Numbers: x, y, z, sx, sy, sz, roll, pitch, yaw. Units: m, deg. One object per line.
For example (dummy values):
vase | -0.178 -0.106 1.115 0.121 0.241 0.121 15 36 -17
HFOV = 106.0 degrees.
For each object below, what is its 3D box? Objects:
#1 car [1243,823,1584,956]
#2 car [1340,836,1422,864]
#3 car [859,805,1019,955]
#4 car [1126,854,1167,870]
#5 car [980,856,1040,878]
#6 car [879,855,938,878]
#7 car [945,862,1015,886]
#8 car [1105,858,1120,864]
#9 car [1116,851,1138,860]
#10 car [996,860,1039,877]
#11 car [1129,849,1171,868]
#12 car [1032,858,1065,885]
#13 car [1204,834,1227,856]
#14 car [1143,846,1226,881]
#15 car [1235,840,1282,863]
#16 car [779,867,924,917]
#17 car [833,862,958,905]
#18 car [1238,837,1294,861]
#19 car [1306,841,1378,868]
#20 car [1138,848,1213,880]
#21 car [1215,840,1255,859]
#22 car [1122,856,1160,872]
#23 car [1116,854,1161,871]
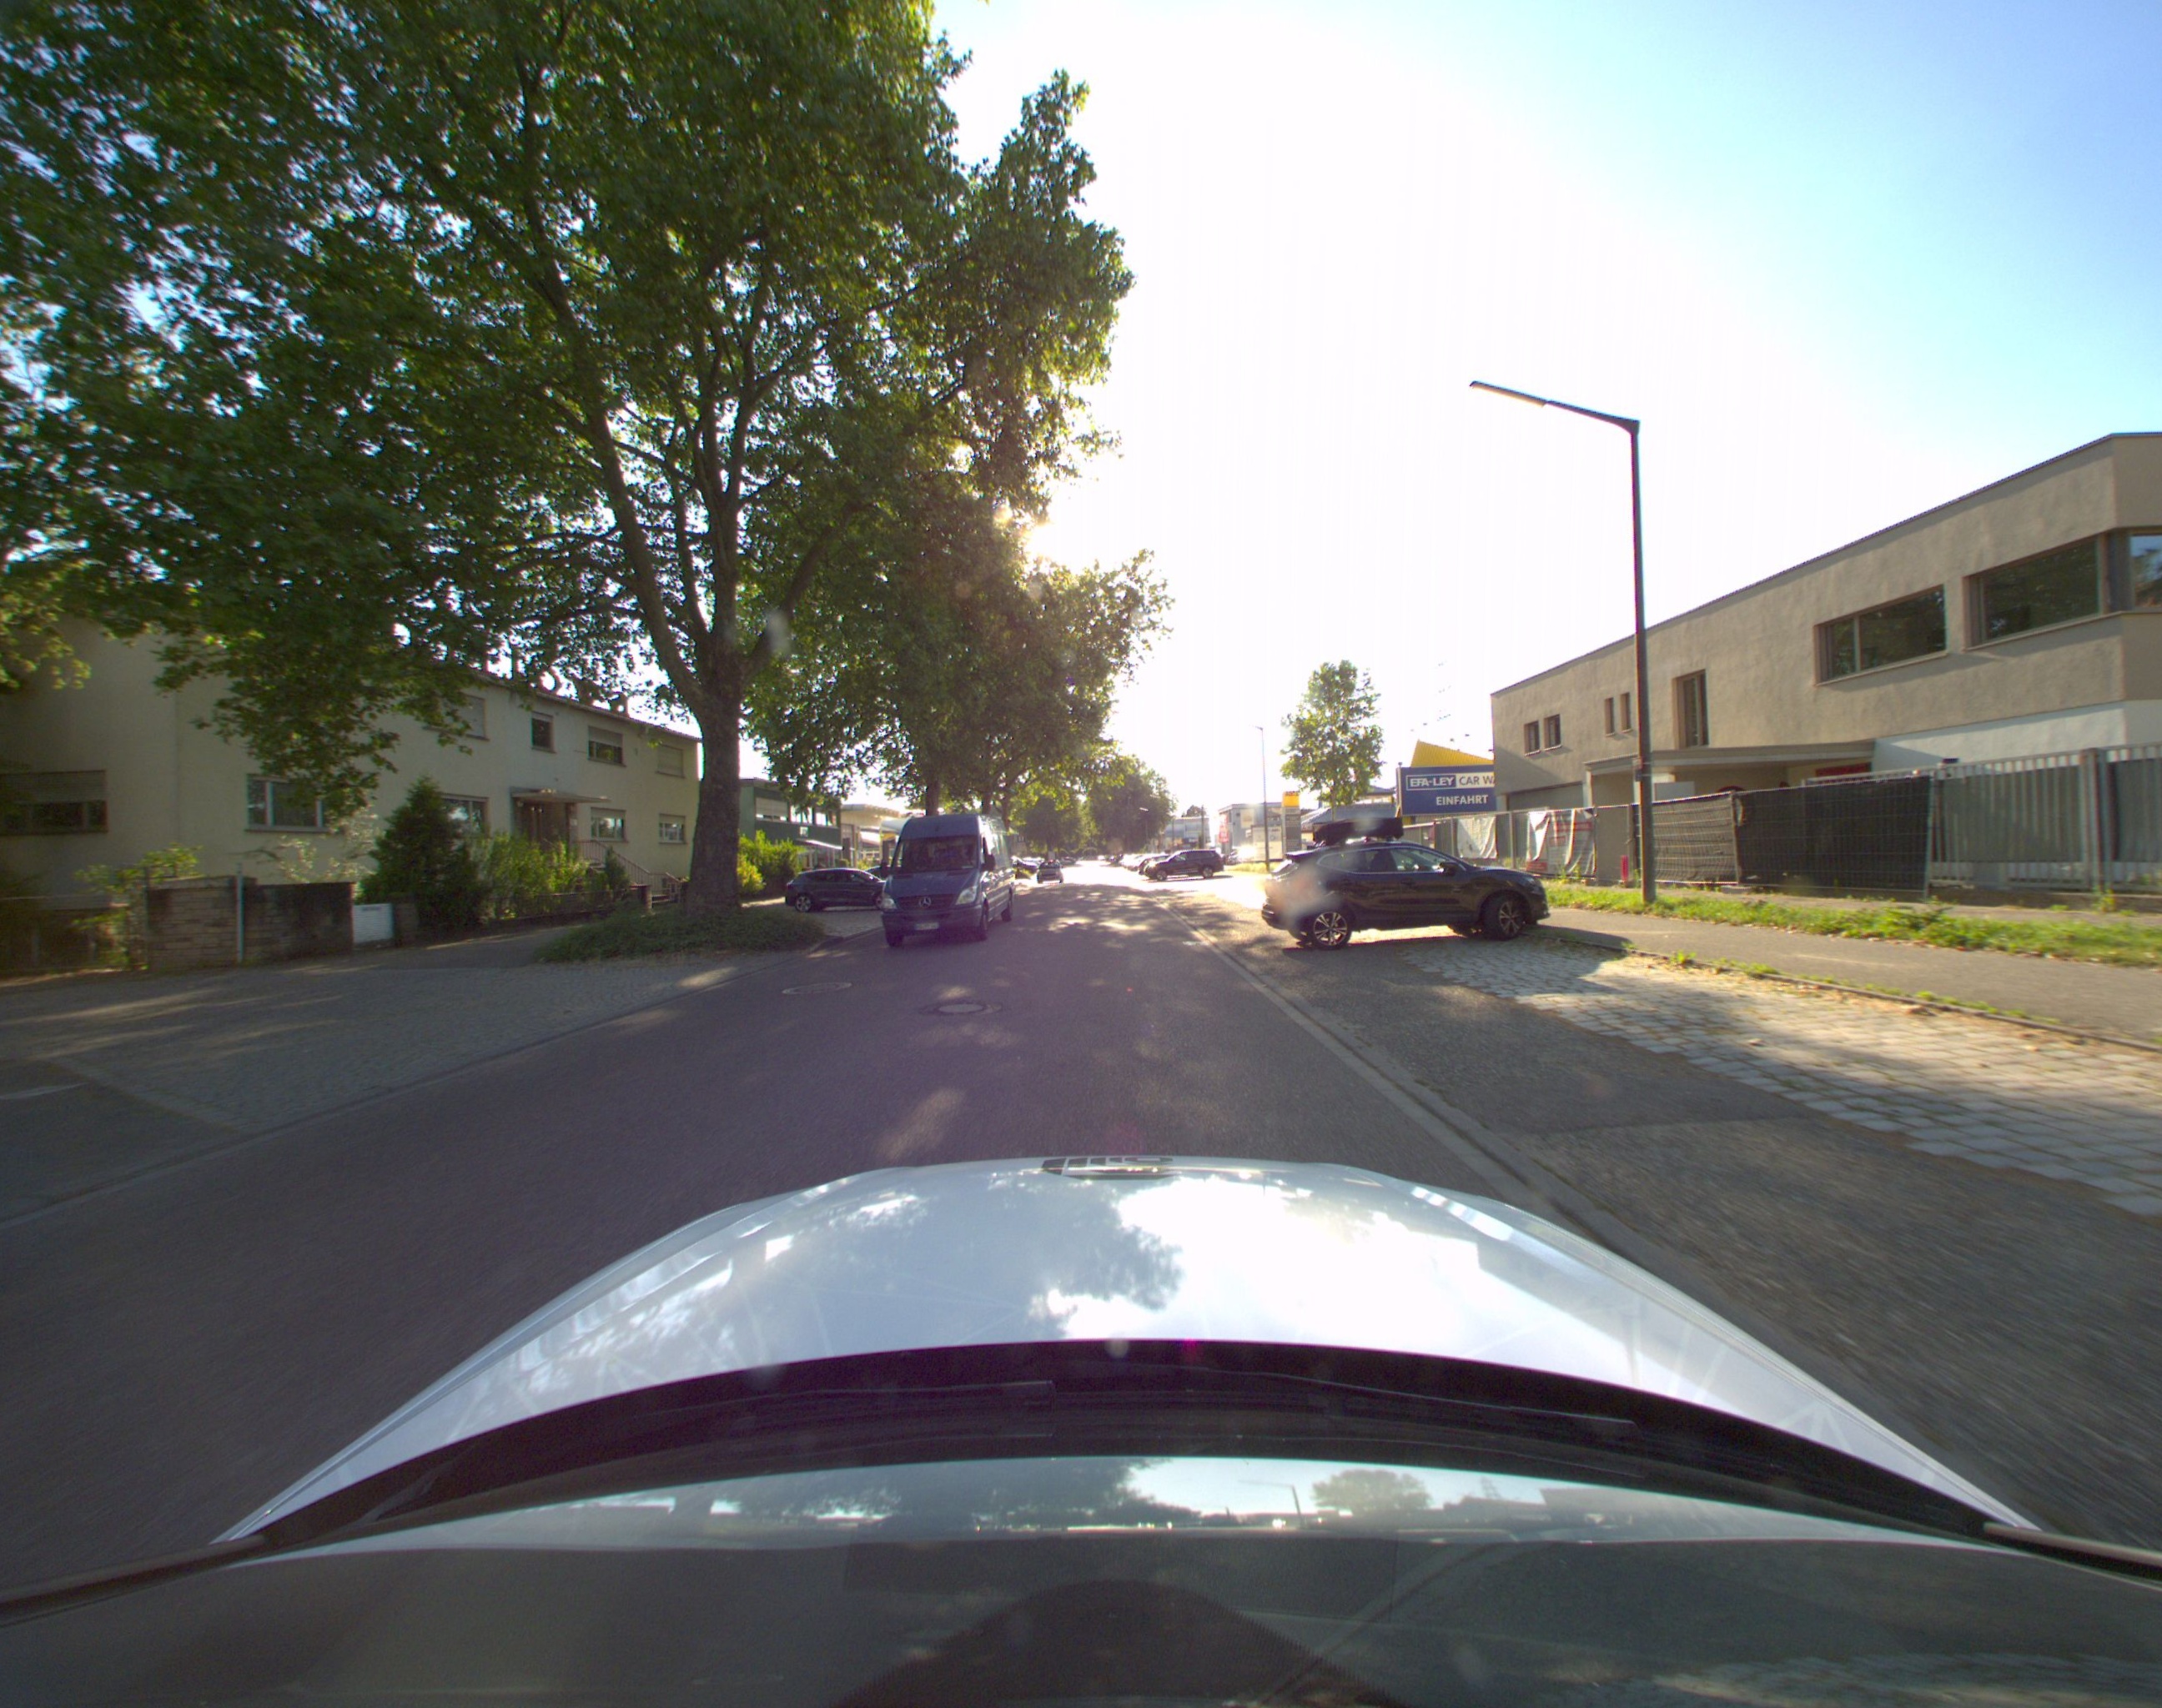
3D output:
car | 5.183 0.535 13.180 4.611 1.526 1.999 -6 0 -1
car | 17.305 -0.220 47.076 3.978 1.497 1.998 -1 0 -3
car | -2.892 0.434 18.568 2.120 2.659 7.004 -3 1 1
car | 7.082 0.885 88.842 4.233 1.605 1.744 -1 0 -4
car | -6.548 1.201 75.489 5.242 1.898 2.202 -2 -1 0
car | -15.277 1.091 72.121 4.731 1.819 1.999 -1 0 -1
car | -6.606 1.303 53.667 4.281 1.446 2.000 -1 -1 0
car | 8.697 1.884 226.860 3.973 1.415 1.827 -3 0 1
car | 8.487 0.295 151.760 3.973 1.415 2.000 -3 0 1
car | -6.516 1.507 83.774 4.291 1.656 2.200 -2 -1 -2
car | 6.904 0.470 82.035 3.978 1.588 1.866 -4 0 -3
car | -2.083 1.148 53.625 1.832 1.571 3.802 -5 0 1
car | 17.469 -1.144 105.919 1.986 2.625 6.138 -1 0 1
car | 6.025 0.563 47.875 4.582 1.579 2.002 -6 -1 3
car | 16.599 -0.262 76.211 3.920 1.898 2.203 -2 2 0
car | -7.739 1.262 27.805 4.341 1.422 1.999 -3 0 -2
car | -7.530 1.188 33.424 4.584 1.422 2.000 -3 1 0
car | 16.315 -0.427 71.968 4.480 1.898 2.202 -2 -1 0
car | 16.982 0.044 53.091 3.978 1.595 1.998 -1 0 -3
car | 6.152 0.631 53.479 4.586 1.613 2.000 -6 -1 0
car | 17.549 -0.475 92.844 4.129 1.771 2.000 -4 -1 1
car | 7.615 1.262 103.663 4.543 1.597 2.200 -6 -1 -2
car | 5.294 0.759 74.398 3.970 1.296 1.786 -4 0 3
